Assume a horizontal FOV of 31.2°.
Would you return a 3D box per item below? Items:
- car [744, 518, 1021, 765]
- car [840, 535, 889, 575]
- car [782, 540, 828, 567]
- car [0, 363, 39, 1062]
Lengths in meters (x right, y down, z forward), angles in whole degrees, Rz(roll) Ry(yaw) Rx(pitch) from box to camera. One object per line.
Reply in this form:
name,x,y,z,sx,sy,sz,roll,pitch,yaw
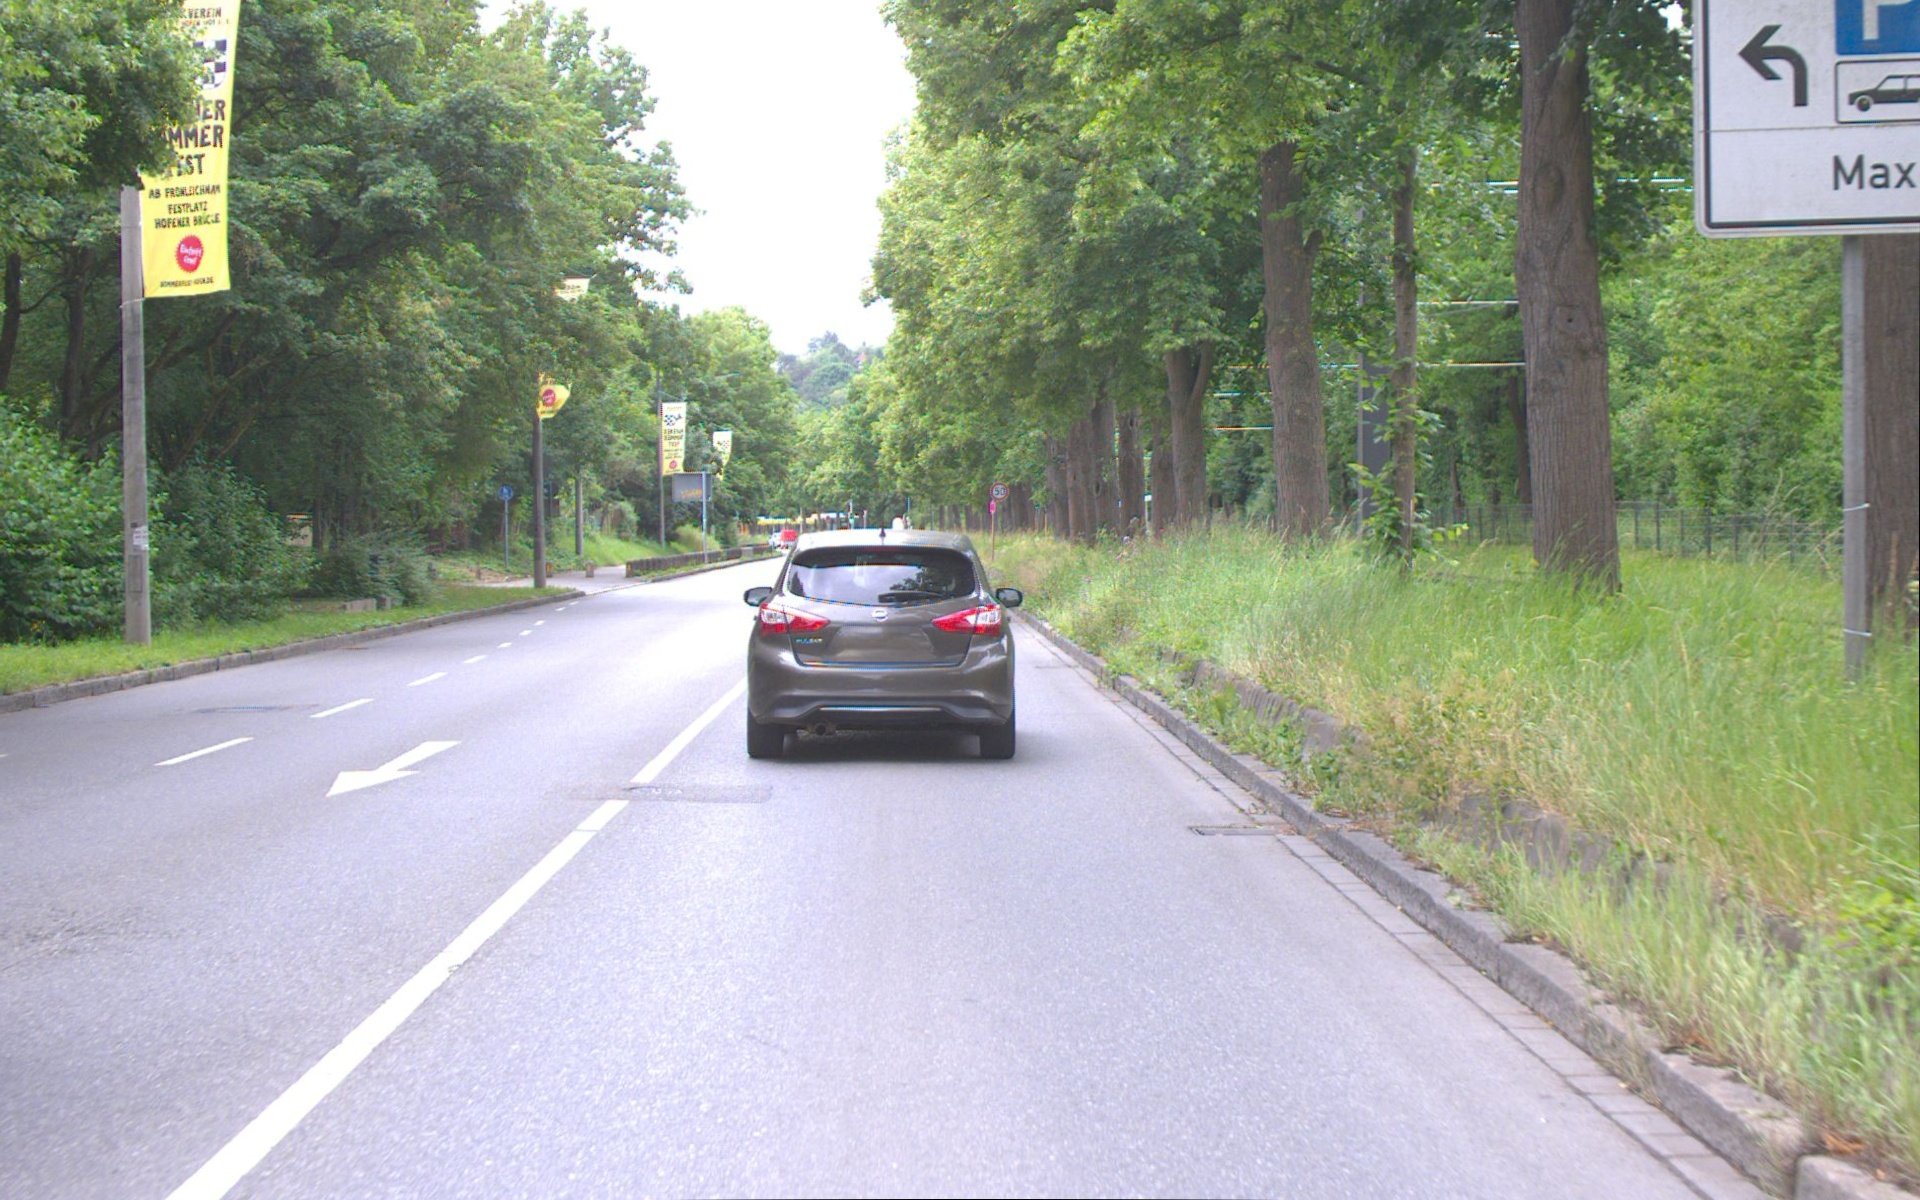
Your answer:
car,-0.537,0.230,23.520,1.730,1.532,3.552,1,1,-2
car,-3.495,-1.648,125.187,1.561,1.436,3.552,1,1,-5
car,-8.560,-2.587,190.121,1.717,1.423,4.196,-2,1,8
car,-3.664,0.357,7.377,1.993,1.949,5.184,-1,1,0
